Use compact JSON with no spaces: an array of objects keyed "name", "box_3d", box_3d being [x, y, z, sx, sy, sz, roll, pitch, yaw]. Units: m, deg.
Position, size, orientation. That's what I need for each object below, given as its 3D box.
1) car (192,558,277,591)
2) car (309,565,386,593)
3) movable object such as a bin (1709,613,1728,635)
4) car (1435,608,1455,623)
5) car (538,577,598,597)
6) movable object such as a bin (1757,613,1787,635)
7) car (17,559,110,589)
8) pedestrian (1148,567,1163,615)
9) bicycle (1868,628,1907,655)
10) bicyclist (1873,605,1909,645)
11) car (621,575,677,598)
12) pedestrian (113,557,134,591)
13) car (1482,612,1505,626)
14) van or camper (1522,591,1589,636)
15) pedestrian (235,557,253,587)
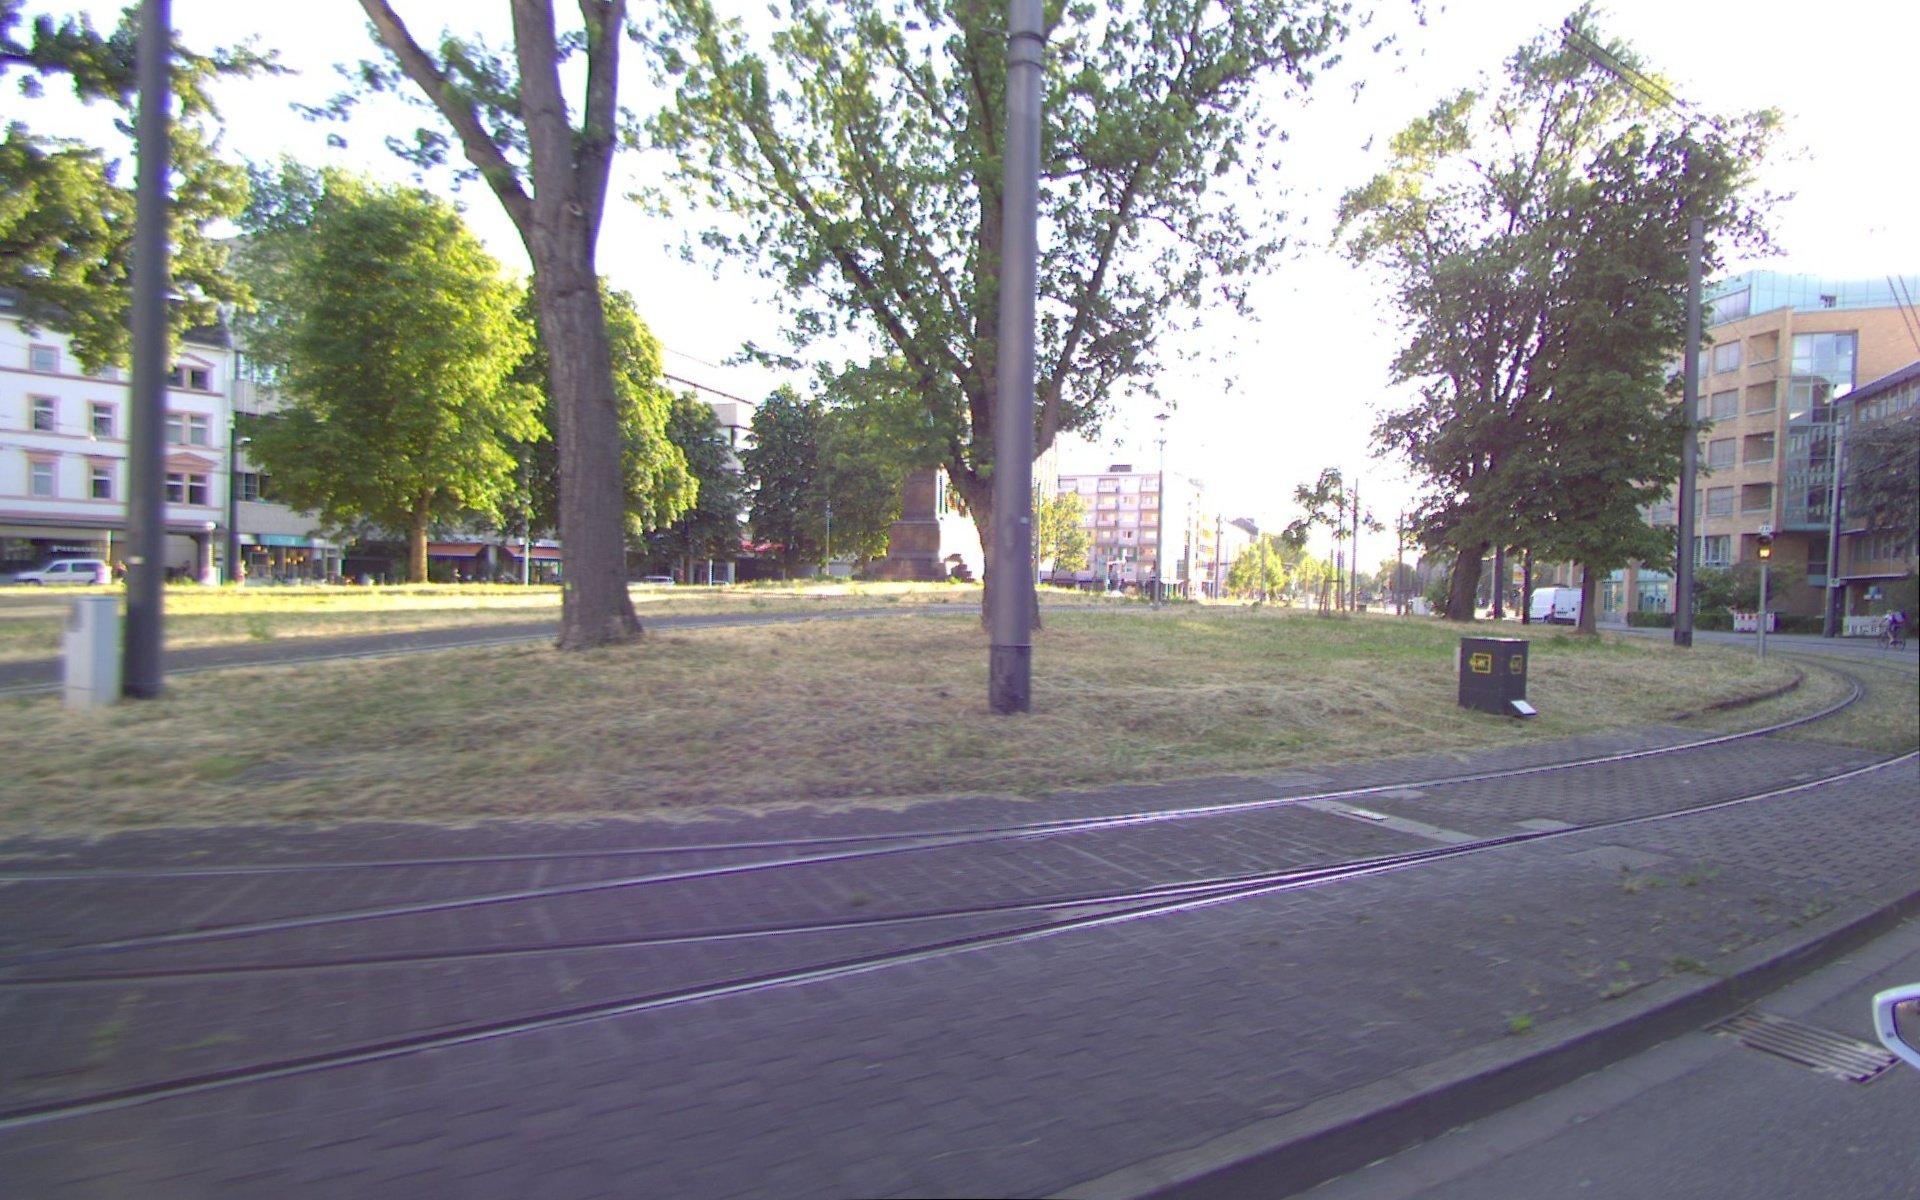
[{"name":"car","box_3d":[-45.993,-1.600,63.707,4.181,1.970,1.736,0,2,-45]},{"name":"car","box_3d":[-41.686,-1.404,68.398,4.181,1.819,1.914,0,2,-45]},{"name":"movable object such as a bin","box_3d":[53.639,1.691,71.007,0.960,1.457,1.338,2,2,42]},{"name":"car","box_3d":[51.236,1.642,106.121,1.709,1.404,3.997,2,1,23]},{"name":"car","box_3d":[-30.903,-1.018,79.291,4.041,1.578,1.841,0,2,-45]},{"name":"movable object such as a bin","box_3d":[56.075,1.673,69.376,1.318,1.443,0.924,1,2,16]},{"name":"car","box_3d":[-52.128,-1.502,58.465,3.973,1.686,1.736,0,2,-45]},{"name":"pedestrian","box_3d":[7.128,-0.330,36.669,0.466,1.712,0.836,1,1,9]},{"name":"bicycle","box_3d":[36.808,1.645,39.871,0.506,0.967,1.774,4,1,22]},{"name":"bicyclist","box_3d":[36.761,0.969,39.661,0.645,1.503,1.037,4,1,24]},{"name":"car","box_3d":[-25.765,-1.116,83.312,4.181,1.819,1.736,0,2,-45]},{"name":"pedestrian","box_3d":[-43.195,-1.321,51.845,0.794,1.724,0.790,0,2,-42]},{"name":"car","box_3d":[58.327,2.032,109.845,1.754,1.372,4.265,3,1,22]},{"name":"van or camper","box_3d":[37.786,0.801,63.874,2.224,2.660,4.505,1,1,12]},{"name":"pedestrian","box_3d":[-42.247,-1.650,59.253,0.793,1.724,0.791,0,2,-40]}]
